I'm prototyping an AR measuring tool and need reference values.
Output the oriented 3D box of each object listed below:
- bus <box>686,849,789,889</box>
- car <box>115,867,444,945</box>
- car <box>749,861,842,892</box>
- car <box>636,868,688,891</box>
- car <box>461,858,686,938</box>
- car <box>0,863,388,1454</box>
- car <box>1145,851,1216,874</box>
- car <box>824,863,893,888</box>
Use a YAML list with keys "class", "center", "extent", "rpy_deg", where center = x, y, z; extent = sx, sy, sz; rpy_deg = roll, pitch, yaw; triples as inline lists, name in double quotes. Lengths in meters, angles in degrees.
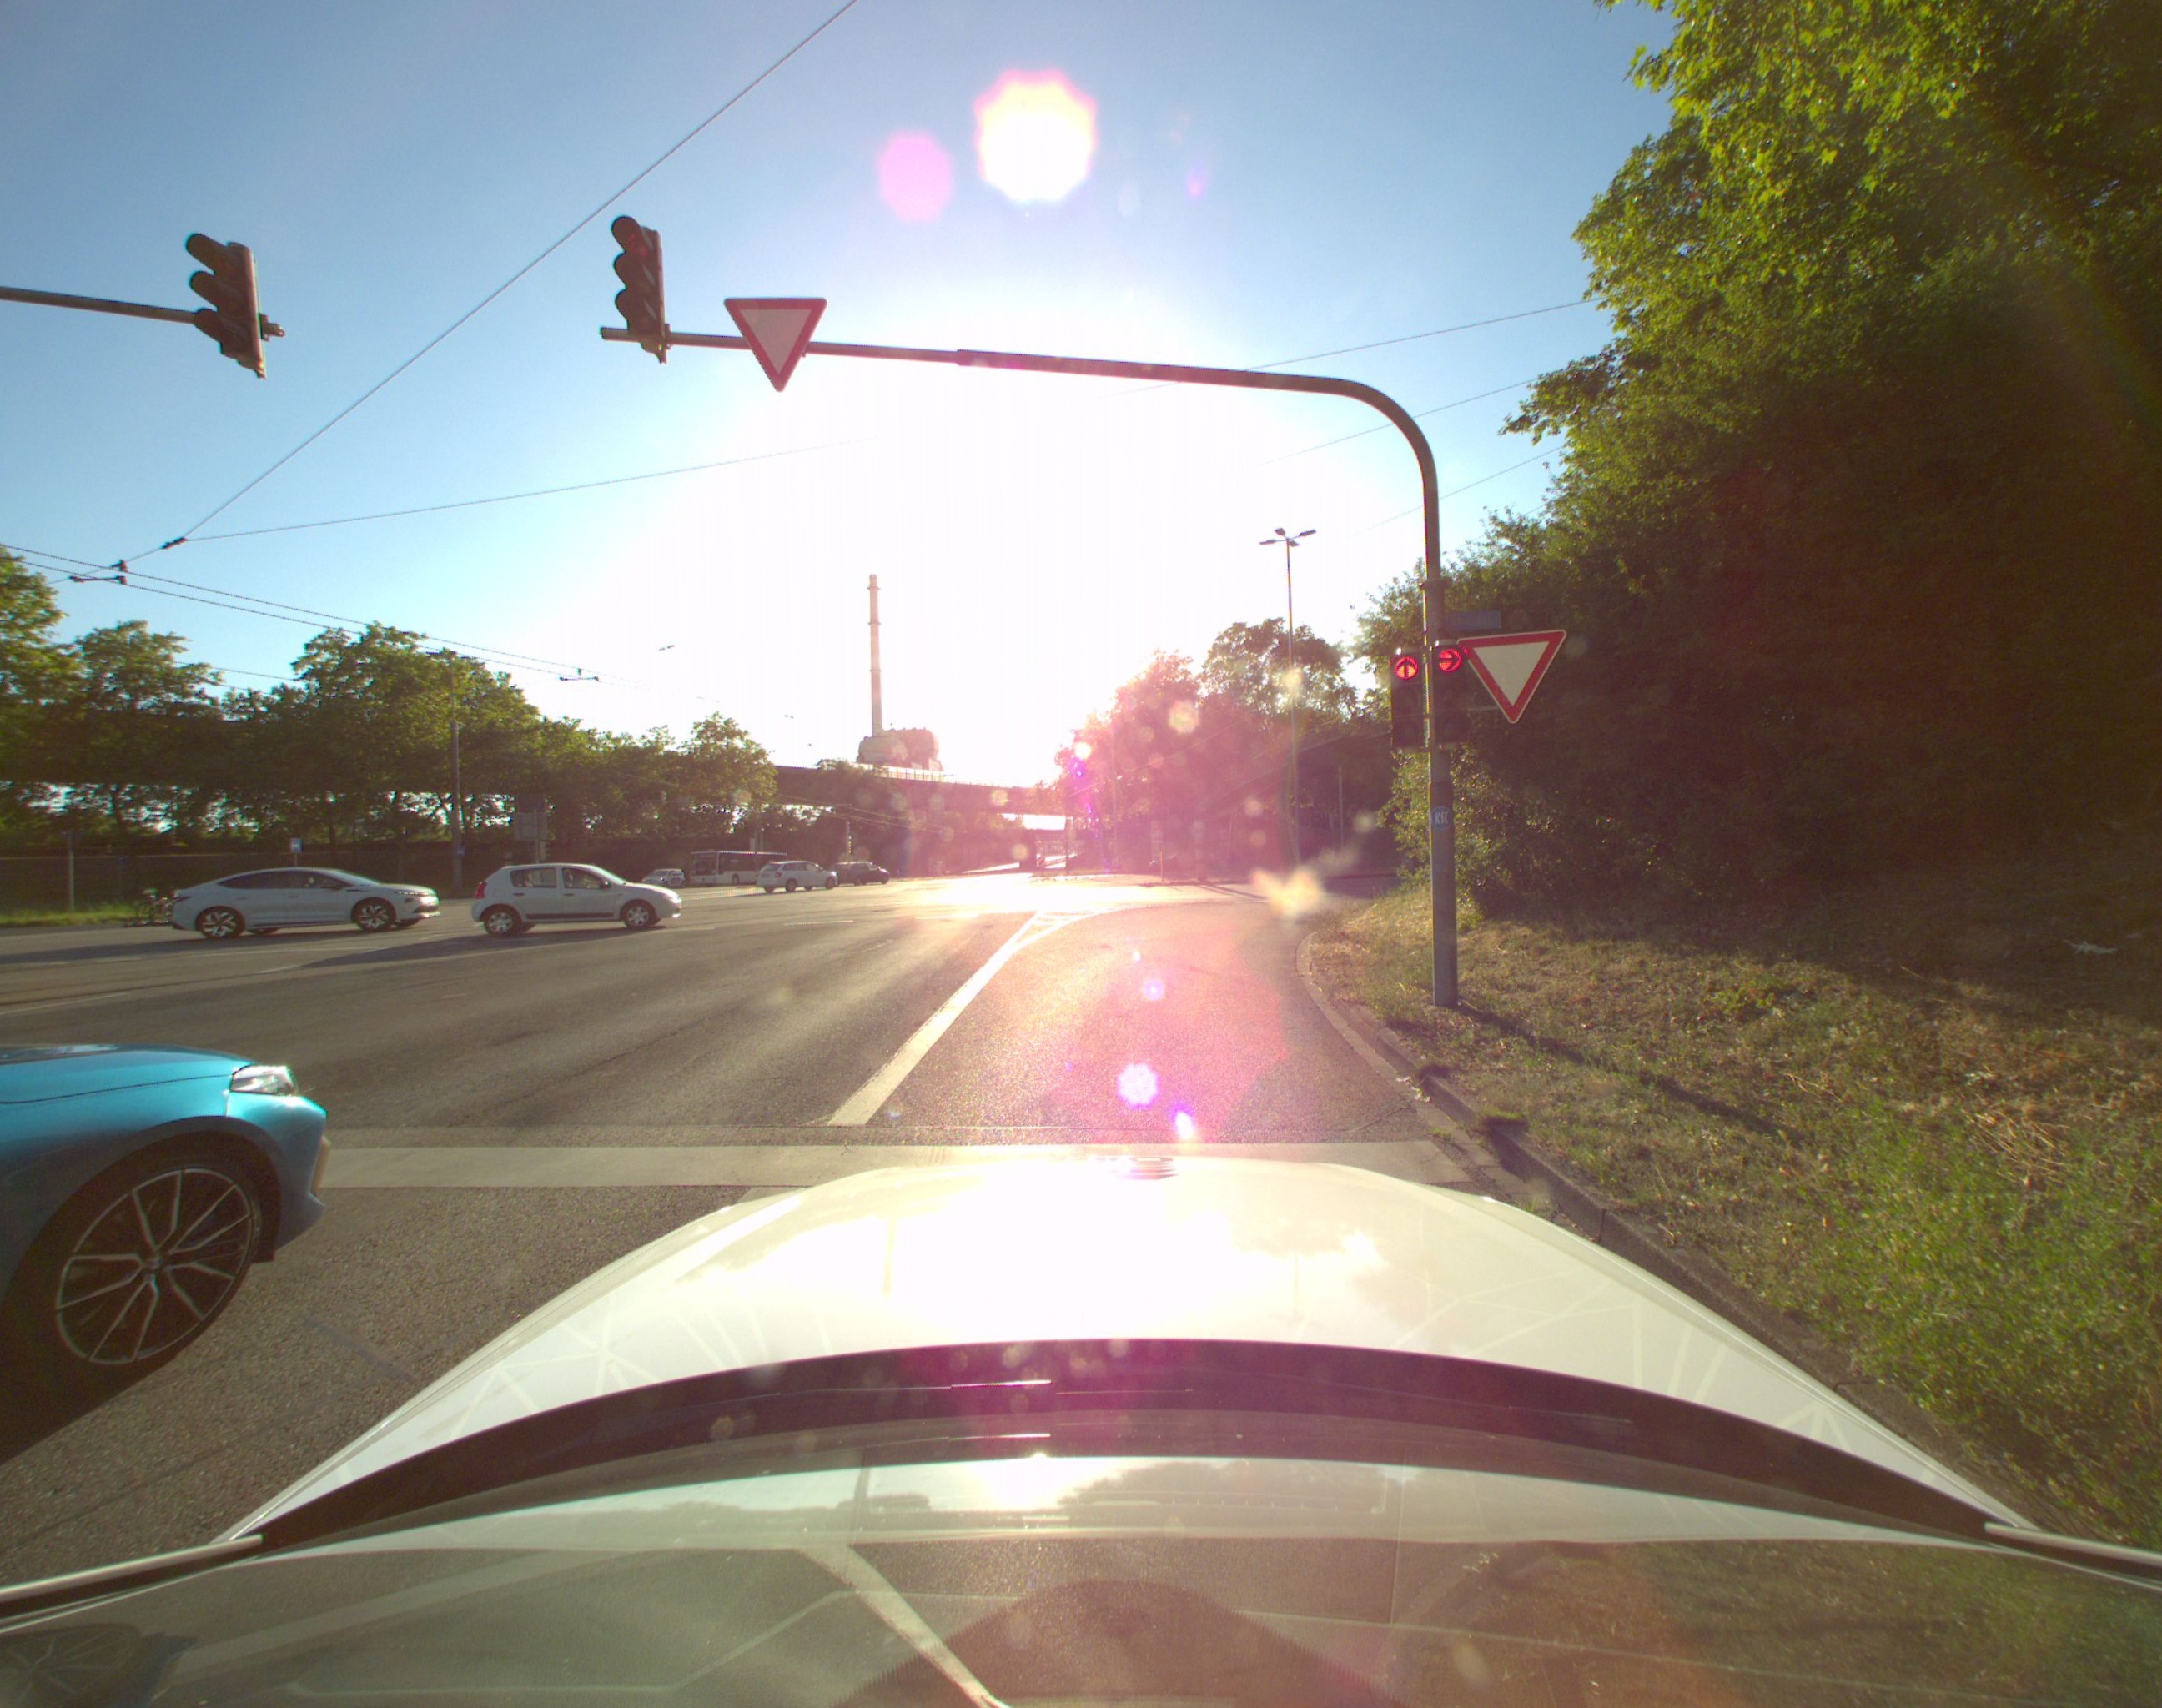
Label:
- class: "bus"
  center: [-29.406, 1.333, 70.734]
  extent: [2.532, 3.130, 12.931]
  rpy_deg: [-2, -1, 4]
- class: "car"
  center: [-18.963, 1.161, 19.642]
  extent: [5.369, 1.575, 1.728]
  rpy_deg: [-1, 0, -21]
- class: "car"
  center: [-13.908, 1.068, 39.942]
  extent: [1.649, 1.405, 4.223]
  rpy_deg: [-1, 0, 30]
- class: "car"
  center: [-30.125, 1.808, 58.657]
  extent: [1.601, 1.512, 4.007]
  rpy_deg: [-1, 0, 0]
- class: "car"
  center: [-11.256, 0.923, 18.388]
  extent: [4.001, 1.575, 1.682]
  rpy_deg: [-1, 0, -20]
- class: "car"
  center: [-3.560, 0.799, 1.071]
  extent: [1.709, 1.466, 4.205]
  rpy_deg: [-2, 0, -1]
- class: "car"
  center: [6.962, 0.580, 57.023]
  extent: [4.585, 1.575, 1.685]
  rpy_deg: [-1, 0, -16]
- class: "car"
  center: [-13.626, 1.317, 50.132]
  extent: [1.650, 1.405, 4.469]
  rpy_deg: [-1, 0, 23]
